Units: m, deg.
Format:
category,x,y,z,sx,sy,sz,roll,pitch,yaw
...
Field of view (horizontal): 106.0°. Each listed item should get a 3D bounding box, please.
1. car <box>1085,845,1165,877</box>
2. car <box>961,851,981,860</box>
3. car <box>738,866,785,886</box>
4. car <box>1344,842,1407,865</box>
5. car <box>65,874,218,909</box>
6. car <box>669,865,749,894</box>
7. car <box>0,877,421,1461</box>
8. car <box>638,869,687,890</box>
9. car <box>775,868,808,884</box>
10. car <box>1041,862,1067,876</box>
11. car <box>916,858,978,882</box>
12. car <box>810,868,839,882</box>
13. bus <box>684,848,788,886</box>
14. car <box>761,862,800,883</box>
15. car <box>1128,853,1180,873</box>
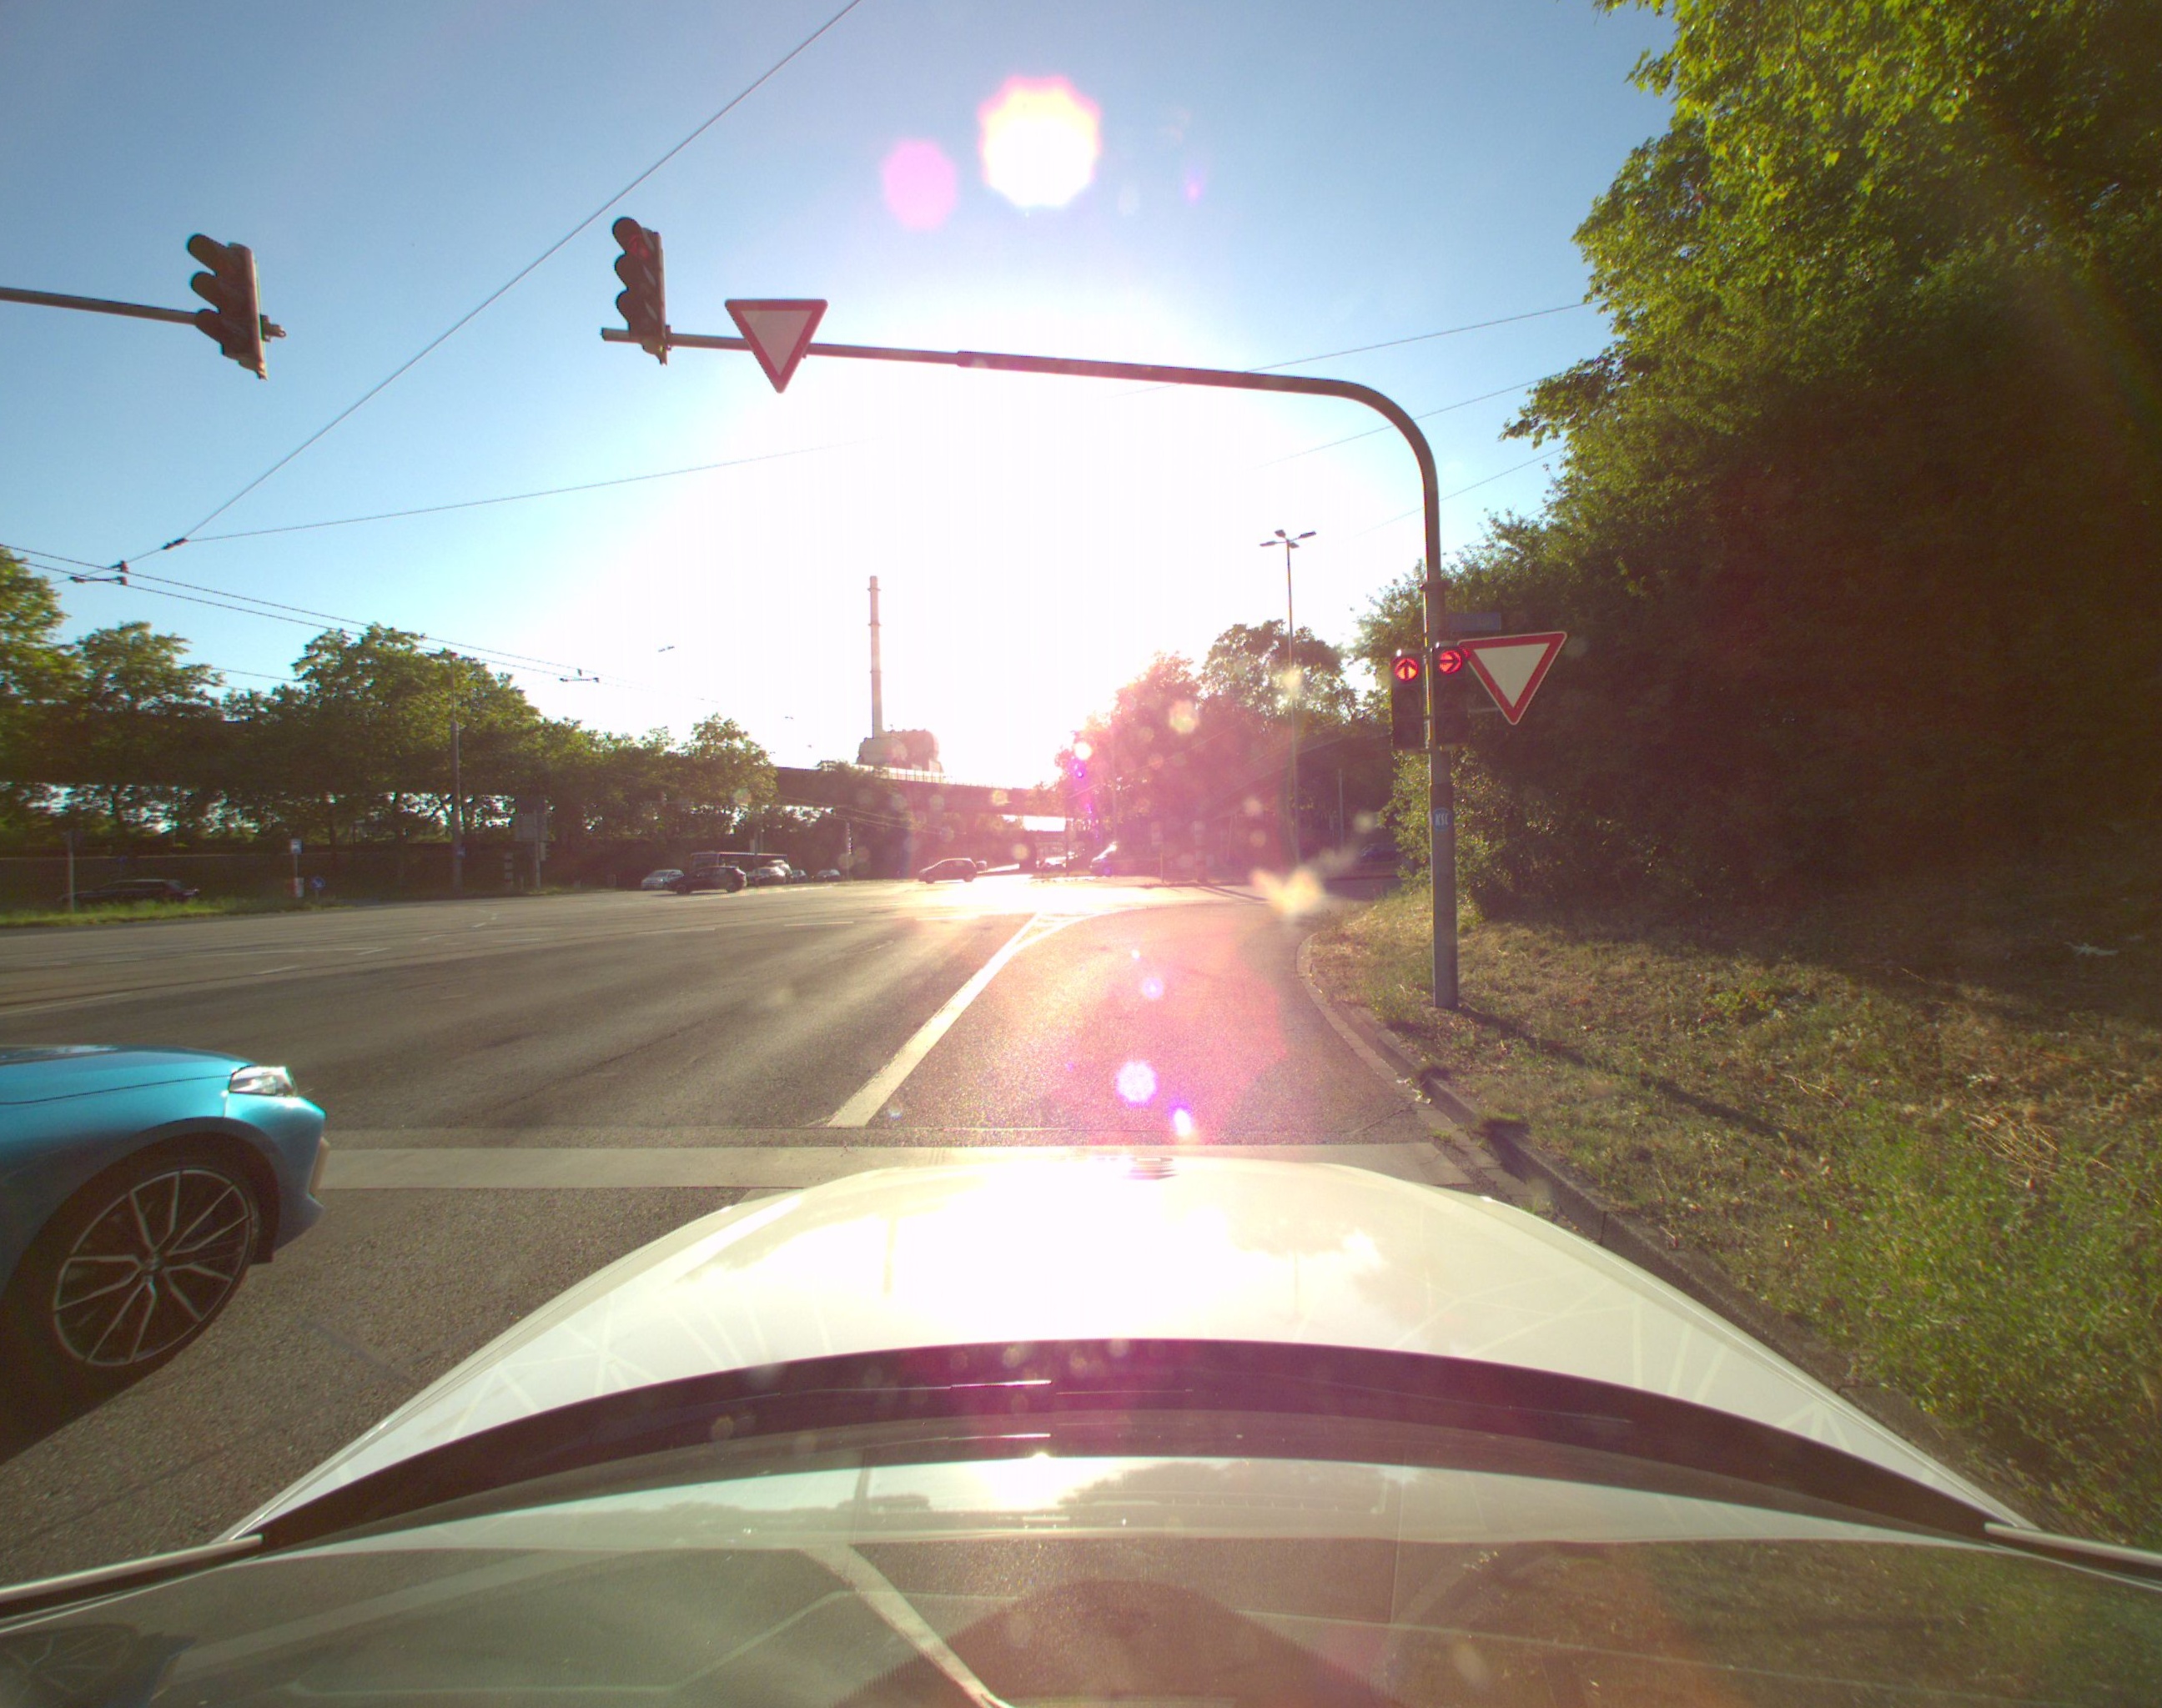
category,x,y,z,sx,sy,sz,roll,pitch,yaw
car,2.808,0.409,52.034,4.702,1.905,1.988,-1,0,-18
car,-22.483,0.382,166.275,1.974,1.771,4.025,-1,-1,34
car,-23.520,1.580,60.130,1.704,1.354,4.097,-1,0,2
car,21.103,-0.031,58.388,3.936,1.558,1.986,-1,0,-20
car,-45.273,1.789,39.363,4.522,1.454,1.992,-1,0,-12
car,-20.260,1.372,44.494,3.730,1.422,1.687,-1,0,-17
car,-3.573,0.812,1.060,1.779,1.417,4.511,-1,0,-1
car,-30.096,1.819,58.720,1.599,1.354,3.734,-1,0,0
car,-28.886,2.207,81.395,1.693,1.442,4.002,-1,0,2
car,-2.819,1.519,84.211,1.695,1.422,4.129,-1,0,-16
car,-8.560,1.003,52.097,3.730,1.422,1.687,-1,0,-17
car,-27.766,2.251,88.146,1.693,1.442,4.002,-1,0,2
bus,-29.535,1.041,70.692,2.810,2.954,12.866,-1,0,4
car,-25.630,1.558,69.577,1.704,1.652,4.097,-1,0,2
car,6.341,0.759,70.750,4.168,1.652,1.726,-1,0,23
